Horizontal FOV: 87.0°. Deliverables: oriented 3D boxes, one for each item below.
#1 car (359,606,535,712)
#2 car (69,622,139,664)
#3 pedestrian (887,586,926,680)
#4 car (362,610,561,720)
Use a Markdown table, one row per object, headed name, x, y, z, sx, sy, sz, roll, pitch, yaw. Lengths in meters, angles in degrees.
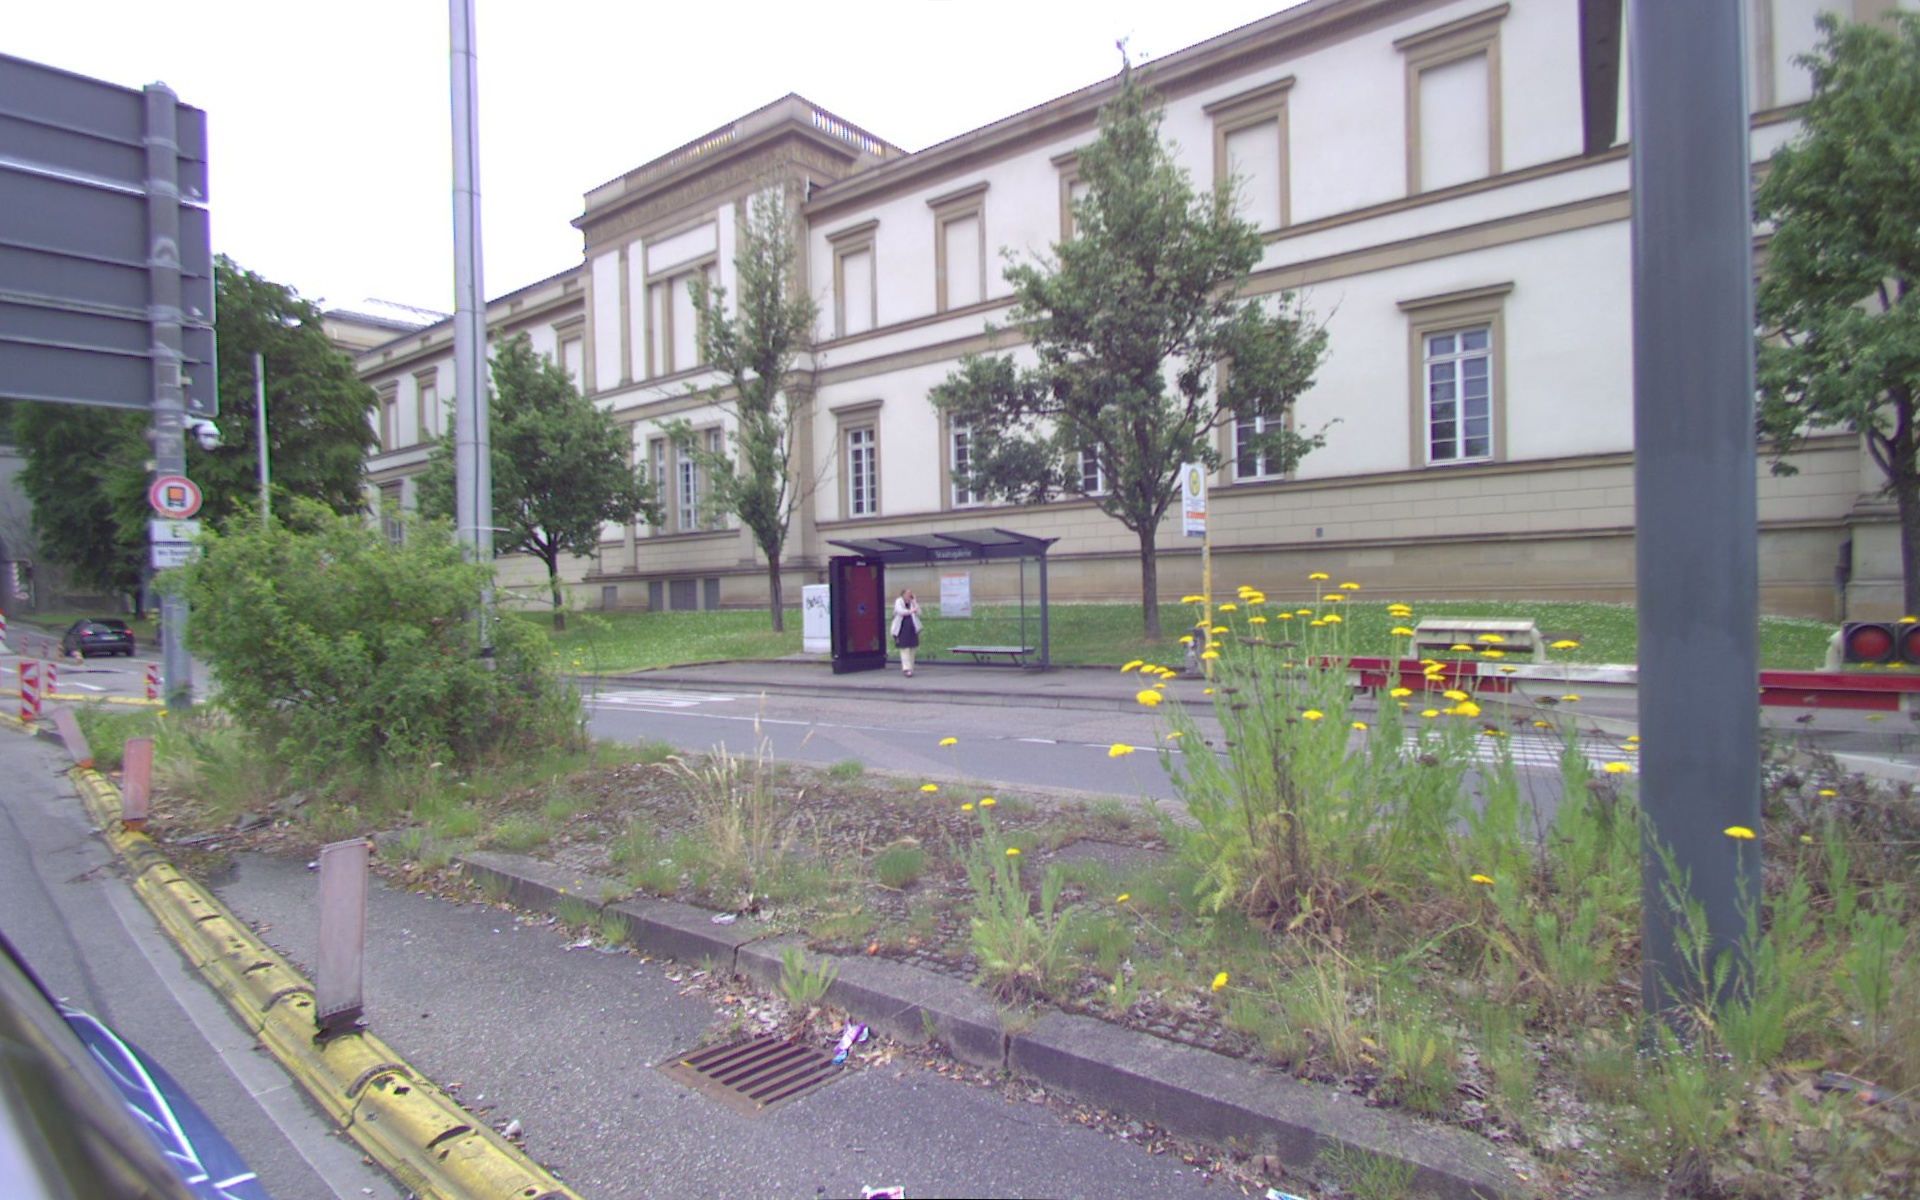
| name | x | y | z | sx | sy | sz | roll | pitch | yaw |
| --- | --- | --- | --- | --- | --- | --- | --- | --- | --- |
| car | -8.408 | 0.916 | 16.554 | 2.819 | 1.563 | 1.520 | -2 | -1 | 38 |
| car | -34.619 | 1.704 | 40.901 | 3.881 | 1.603 | 1.646 | -2 | -1 | 42 |
| pedestrian | -1.000 | 0.606 | 18.813 | 0.578 | 1.708 | 0.460 | -2 | 0 | -15 |
| car | -8.292 | 0.996 | 16.696 | 3.881 | 1.603 | 1.646 | -2 | -1 | 42 |
